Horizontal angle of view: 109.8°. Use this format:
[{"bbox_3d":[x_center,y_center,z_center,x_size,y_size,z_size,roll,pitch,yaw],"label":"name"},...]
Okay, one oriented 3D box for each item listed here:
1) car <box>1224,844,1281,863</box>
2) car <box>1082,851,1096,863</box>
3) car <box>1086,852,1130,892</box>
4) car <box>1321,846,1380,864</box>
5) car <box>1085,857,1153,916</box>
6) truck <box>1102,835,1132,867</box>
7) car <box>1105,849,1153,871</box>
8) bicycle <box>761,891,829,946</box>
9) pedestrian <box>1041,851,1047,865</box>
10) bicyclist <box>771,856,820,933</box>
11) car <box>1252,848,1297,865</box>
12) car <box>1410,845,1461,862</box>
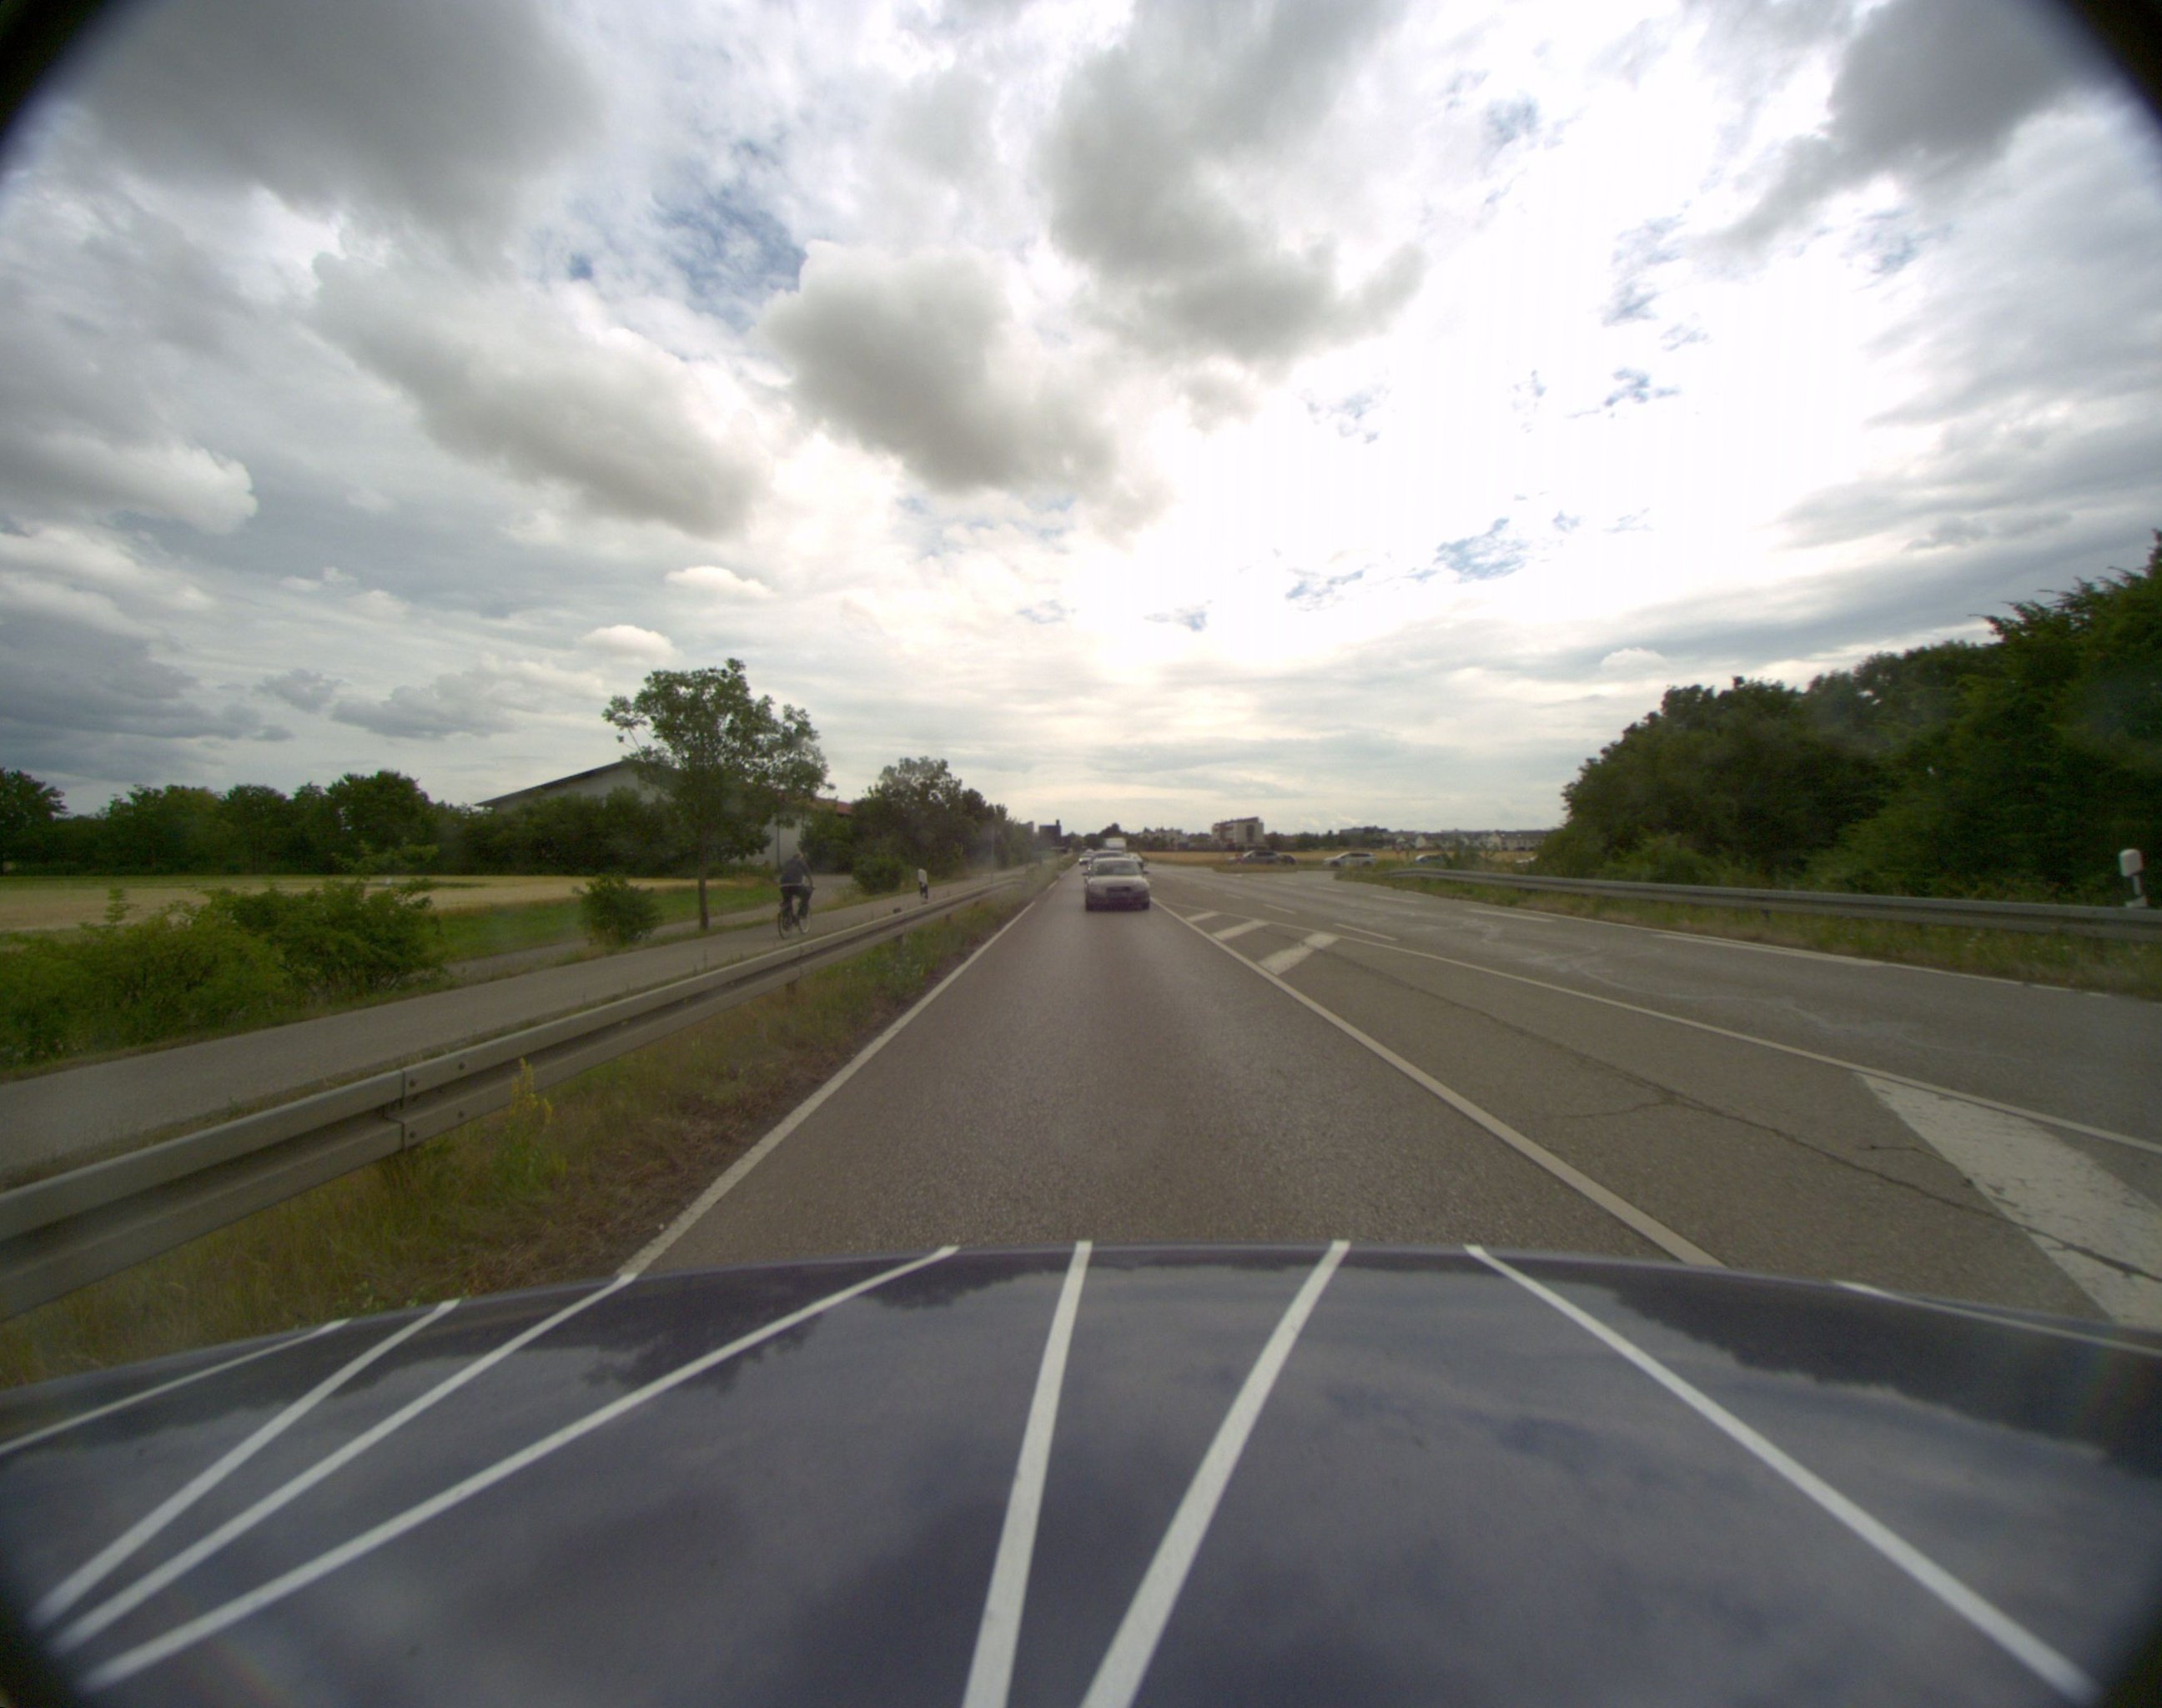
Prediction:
[{"bbox_3d":[15.561,-0.039,69.152,4.813,1.680,2.000,-1,1,3],"label":"car"},{"bbox_3d":[0.983,0.393,98.308,1.730,1.436,4.204,-2,0,0],"label":"car"},{"bbox_3d":[1.108,0.724,32.897,1.730,1.534,4.204,-1,0,0],"label":"car"},{"bbox_3d":[24.069,0.084,67.934,4.673,1.490,2.001,-1,1,8],"label":"car"},{"bbox_3d":[0.994,0.847,21.802,1.730,1.436,4.204,-1,0,0],"label":"car"},{"bbox_3d":[4.239,-0.340,90.511,2.931,3.541,7.604,-2,1,-1],"label":"truck"},{"bbox_3d":[3.846,0.429,59.982,1.995,1.600,5.140,-1,1,25],"label":"car"},{"bbox_3d":[-6.047,1.341,16.189,0.640,0.972,2.072,-1,1,1],"label":"bicycle"},{"bbox_3d":[-4.024,0.476,82.732,0.591,1.512,0.501,-2,1,7],"label":"pedestrian"},{"bbox_3d":[-6.051,0.833,16.160,0.640,1.573,0.969,-1,1,1],"label":"bicyclist"},{"bbox_3d":[18.197,0.204,71.526,3.833,1.481,2.001,-1,1,7],"label":"car"},{"bbox_3d":[31.332,-0.036,67.254,3.714,1.490,1.731,-1,1,8],"label":"car"}]
